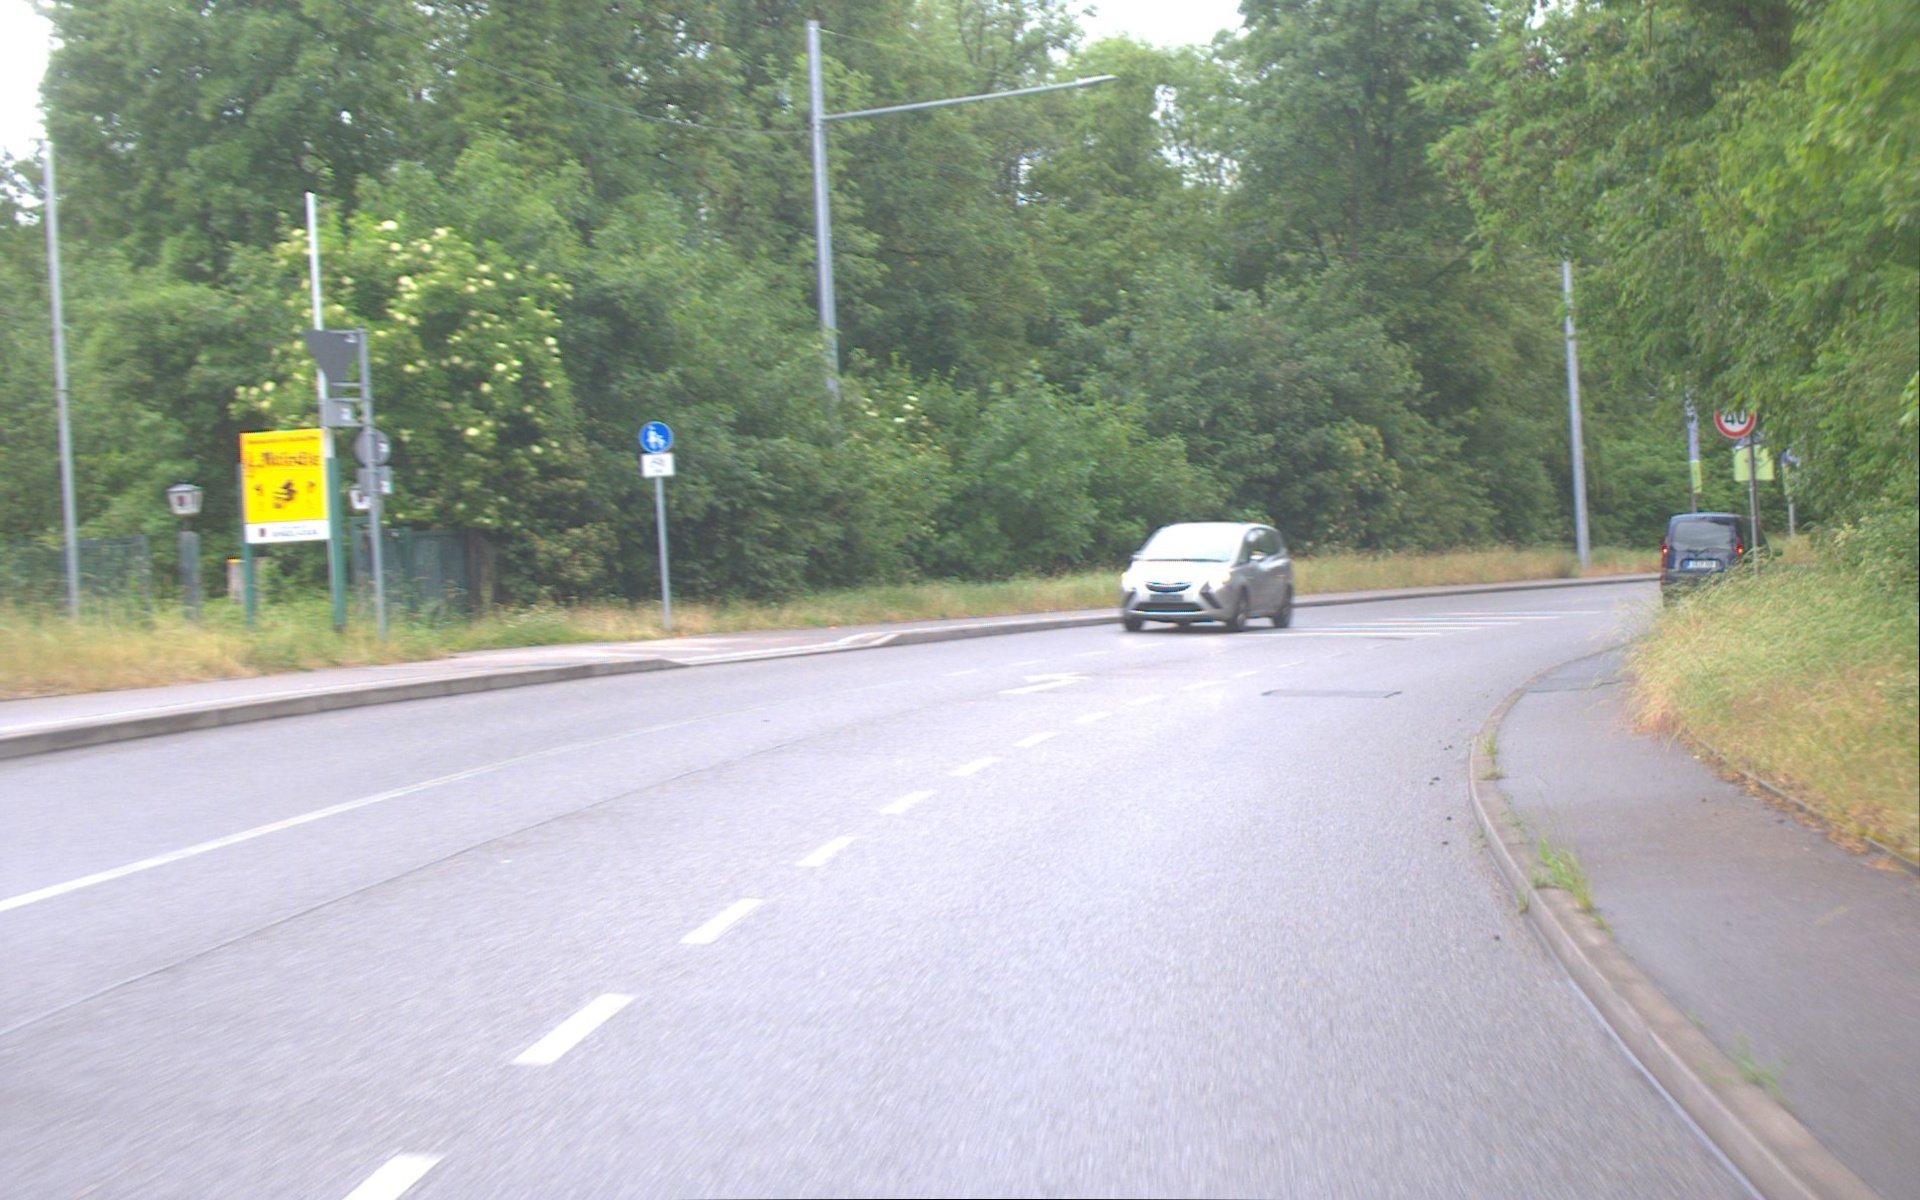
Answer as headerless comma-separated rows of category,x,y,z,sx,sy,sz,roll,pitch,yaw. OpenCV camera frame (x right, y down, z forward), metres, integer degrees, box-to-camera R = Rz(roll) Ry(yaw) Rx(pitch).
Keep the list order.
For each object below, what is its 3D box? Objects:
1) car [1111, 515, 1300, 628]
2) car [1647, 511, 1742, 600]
car,3.769,-0.454,52.122,1.760,1.609,4.414,1,1,19
car,13.780,-0.847,64.436,1.668,1.588,3.681,1,1,12
